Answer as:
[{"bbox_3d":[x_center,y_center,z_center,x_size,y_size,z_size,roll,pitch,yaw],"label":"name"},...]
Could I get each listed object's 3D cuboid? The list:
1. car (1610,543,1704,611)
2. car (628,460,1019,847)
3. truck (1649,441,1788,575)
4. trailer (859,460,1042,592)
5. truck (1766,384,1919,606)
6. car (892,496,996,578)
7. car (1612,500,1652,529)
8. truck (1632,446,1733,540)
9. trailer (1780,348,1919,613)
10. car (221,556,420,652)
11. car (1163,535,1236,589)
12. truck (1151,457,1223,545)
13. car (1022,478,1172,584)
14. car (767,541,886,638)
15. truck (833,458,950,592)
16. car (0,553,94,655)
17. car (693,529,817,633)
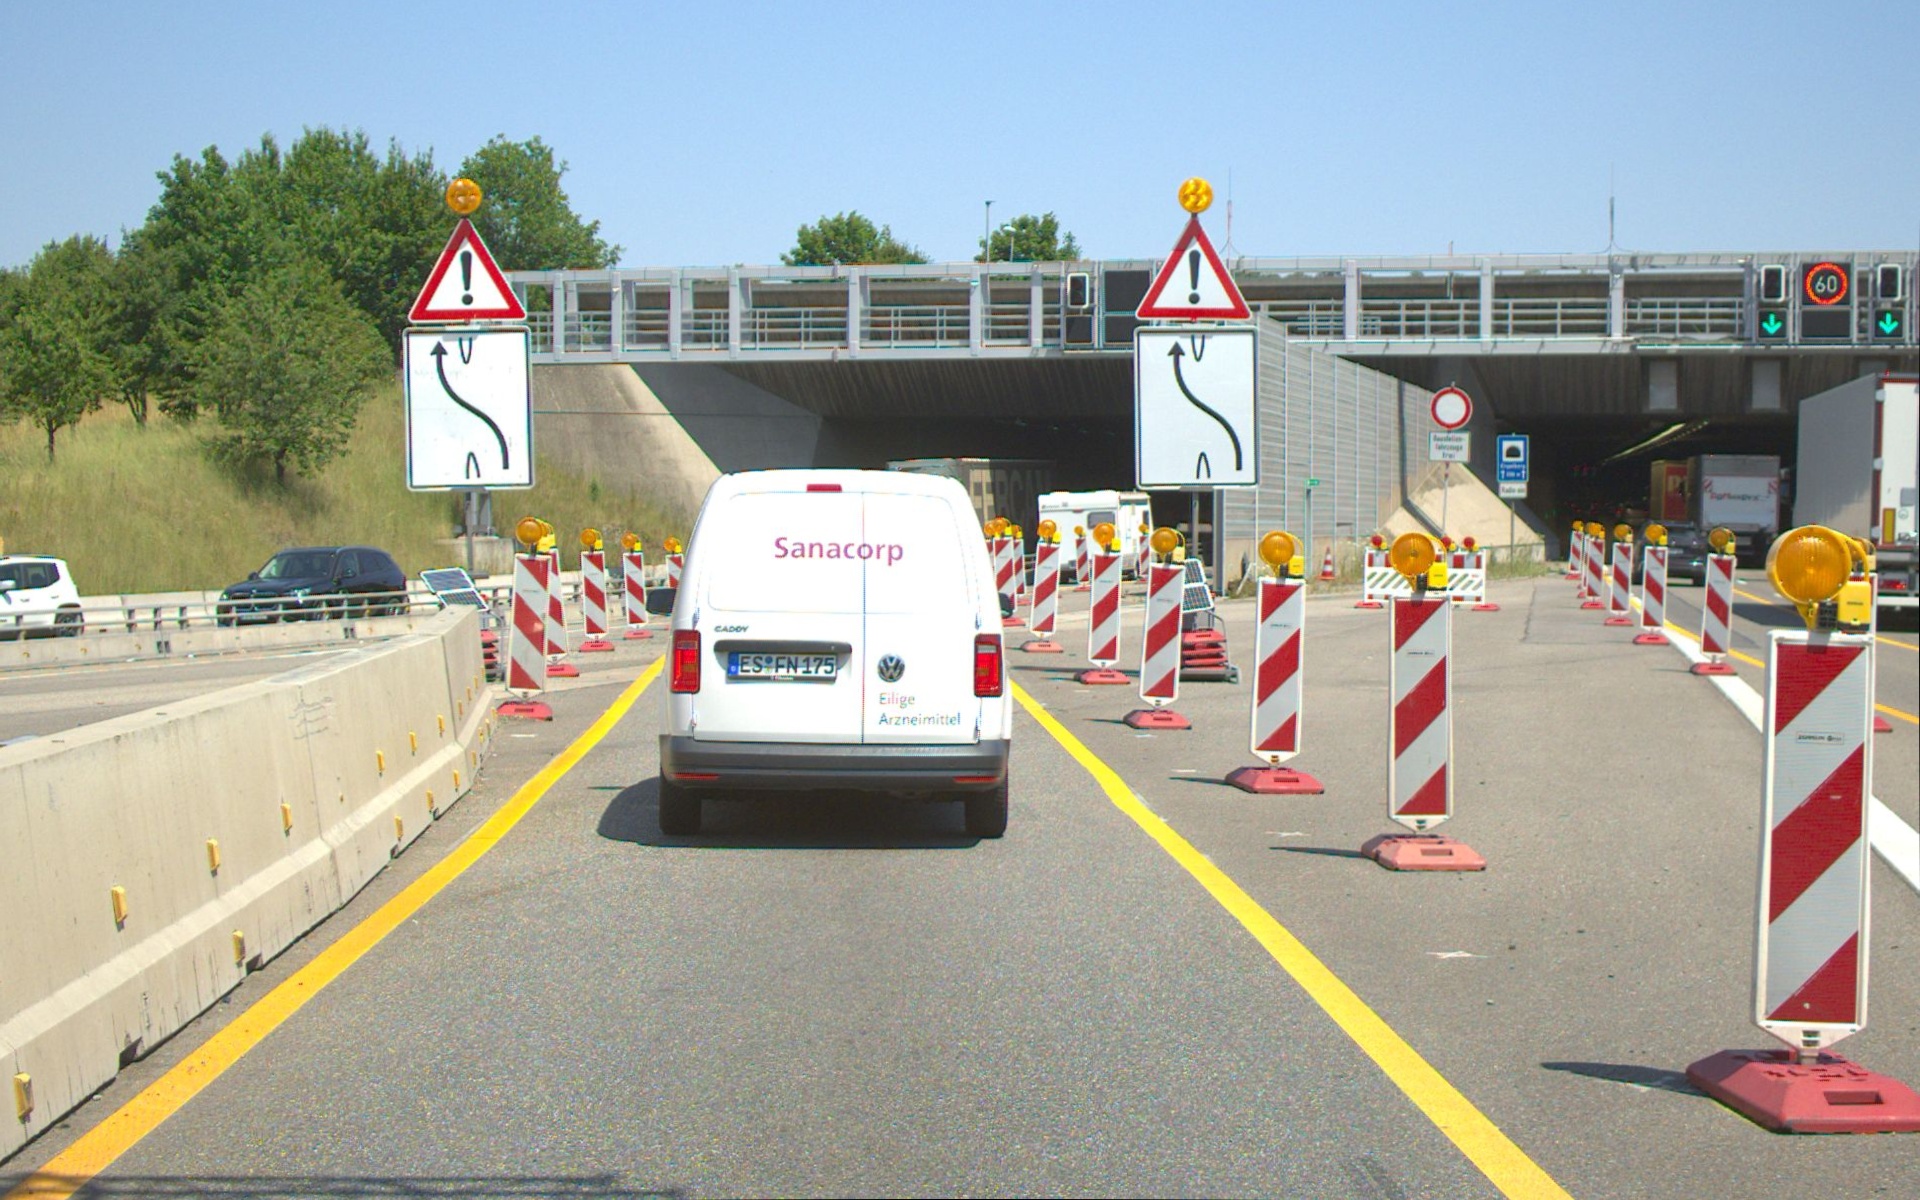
[{"bbox_3d":[17.663,-0.610,87.257,1.815,1.624,4.189,2,1,5],"label":"car"},{"bbox_3d":[-0.674,0.217,17.905,1.808,1.788,3.731,0,1,-1],"label":"car"},{"bbox_3d":[27.149,-3.151,123.768,3.403,4.320,16.531,2,0,8],"label":"truck"},{"bbox_3d":[-0.154,-2.554,118.705,2.437,4.282,13.799,0,1,17],"label":"trailer"},{"bbox_3d":[17.314,-1.972,66.351,2.746,4.019,5.925,2,1,8],"label":"truck"},{"bbox_3d":[-0.320,-1.400,76.082,1.809,1.745,4.409,0,1,6],"label":"car"},{"bbox_3d":[45.305,-5.742,231.918,2.332,1.832,4.542,2,1,8],"label":"car"},{"bbox_3d":[34.058,-4.943,162.644,3.403,4.057,16.531,2,1,8],"label":"truck"},{"bbox_3d":[16.306,-1.888,59.447,2.733,4.048,14.091,2,1,8],"label":"trailer"},{"bbox_3d":[-11.292,0.039,60.976,1.717,1.618,4.167,0,1,17],"label":"car"},{"bbox_3d":[8.156,-1.310,116.754,1.954,1.809,4.408,0,1,11],"label":"car"},{"bbox_3d":[10.827,-4.699,163.722,2.336,4.094,5.013,0,1,17],"label":"truck"},{"bbox_3d":[3.913,-1.885,96.186,2.815,2.764,7.097,1,0,13],"label":"car"},{"bbox_3d":[-2.554,-0.230,66.778,1.809,1.809,4.409,0,1,4],"label":"car"},{"bbox_3d":[-2.196,-2.417,111.770,2.433,4.255,4.835,0,1,17],"label":"truck"},{"bbox_3d":[-16.008,0.053,56.123,1.717,1.618,4.167,0,1,17],"label":"car"},{"bbox_3d":[-3.184,-0.319,53.011,1.808,1.532,4.410,-1,1,-4],"label":"car"}]
